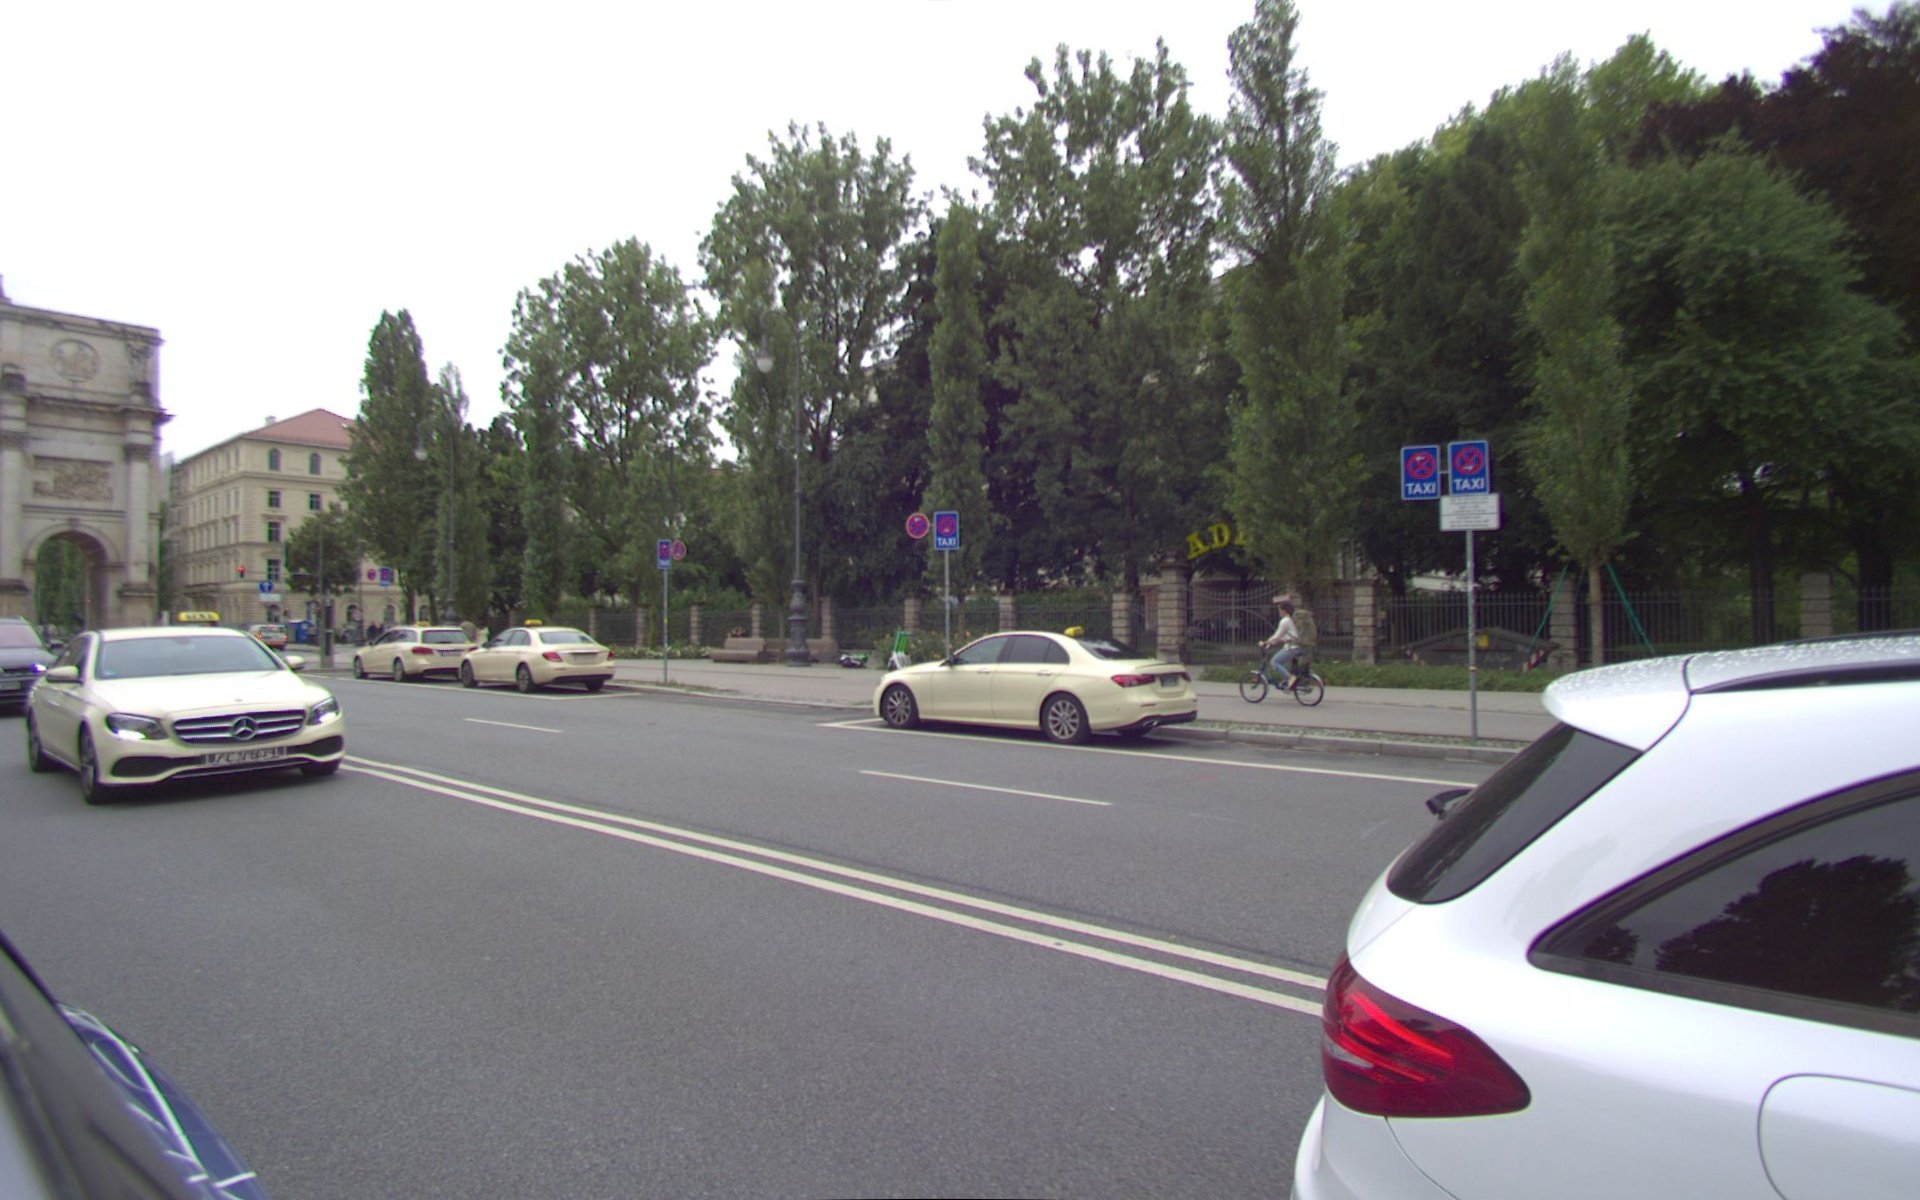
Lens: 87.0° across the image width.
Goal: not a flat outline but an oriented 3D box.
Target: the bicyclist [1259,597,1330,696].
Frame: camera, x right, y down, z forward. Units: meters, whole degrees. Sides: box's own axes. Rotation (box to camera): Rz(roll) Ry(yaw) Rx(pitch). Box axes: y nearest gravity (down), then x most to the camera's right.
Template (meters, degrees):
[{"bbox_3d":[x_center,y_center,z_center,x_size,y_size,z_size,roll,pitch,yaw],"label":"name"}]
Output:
[{"bbox_3d":[5.280,0.716,15.966,0.860,1.510,0.687,-2,-2,39],"label":"bicyclist"}]

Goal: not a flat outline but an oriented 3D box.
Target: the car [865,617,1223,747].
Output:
[{"bbox_3d":[1.014,1.047,14.106,4.788,1.508,1.910,-2,-3,42],"label":"car"}]

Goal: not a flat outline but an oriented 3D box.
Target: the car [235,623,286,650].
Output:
[{"bbox_3d":[-51.468,2.694,74.424,4.990,1.869,1.977,0,-2,43],"label":"car"}]

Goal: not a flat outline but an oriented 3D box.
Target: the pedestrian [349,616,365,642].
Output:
[{"bbox_3d":[-46.902,2.257,78.777,0.747,2.029,0.793,-1,-1,6],"label":"pedestrian"}]

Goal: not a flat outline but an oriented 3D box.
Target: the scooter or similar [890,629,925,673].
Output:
[{"bbox_3d":[-1.486,1.422,28.381,1.122,1.210,0.240,-1,-2,41],"label":"scooter or similar"}]

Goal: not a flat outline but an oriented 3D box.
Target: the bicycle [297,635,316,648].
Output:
[{"bbox_3d":[-52.612,3.320,81.455,1.757,0.981,0.636,-1,-2,35],"label":"bicycle"}]

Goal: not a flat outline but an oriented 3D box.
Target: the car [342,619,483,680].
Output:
[{"bbox_3d":[-15.241,1.328,28.058,4.855,1.571,1.799,-1,-3,41],"label":"car"}]

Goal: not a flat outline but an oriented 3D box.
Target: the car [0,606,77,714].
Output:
[{"bbox_3d":[-16.570,0.972,17.053,4.409,1.636,1.928,-1,1,41],"label":"car"}]

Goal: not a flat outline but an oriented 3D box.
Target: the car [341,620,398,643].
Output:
[{"bbox_3d":[-52.677,2.806,90.279,1.999,2.029,3.946,-2,-2,40],"label":"car"}]

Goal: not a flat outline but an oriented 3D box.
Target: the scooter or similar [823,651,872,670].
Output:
[{"bbox_3d":[-3.557,1.901,32.201,1.314,0.522,2.236,0,-2,0],"label":"scooter or similar"}]

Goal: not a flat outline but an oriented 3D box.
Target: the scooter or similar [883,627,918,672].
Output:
[{"bbox_3d":[-1.662,1.369,28.180,1.140,1.251,0.255,-1,-2,42],"label":"scooter or similar"}]

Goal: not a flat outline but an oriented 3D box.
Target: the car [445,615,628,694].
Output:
[{"bbox_3d":[-9.964,1.189,23.622,4.962,1.637,1.917,0,-2,41],"label":"car"}]

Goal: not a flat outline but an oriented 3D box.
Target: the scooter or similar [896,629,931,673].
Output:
[{"bbox_3d":[-1.314,1.421,28.577,1.122,1.210,0.240,-1,-2,41],"label":"scooter or similar"}]

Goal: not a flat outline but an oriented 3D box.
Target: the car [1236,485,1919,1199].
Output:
[{"bbox_3d":[2.714,0.589,0.633,4.581,1.465,1.806,-1,0,42],"label":"car"}]

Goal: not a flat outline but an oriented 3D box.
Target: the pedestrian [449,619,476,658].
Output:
[{"bbox_3d":[-22.193,1.705,45.148,0.834,1.691,0.968,1,-2,-43],"label":"pedestrian"}]

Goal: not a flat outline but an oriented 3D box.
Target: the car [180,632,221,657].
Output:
[{"bbox_3d":[-53.711,3.113,71.532,1.761,1.684,4.002,1,-2,-45],"label":"car"}]

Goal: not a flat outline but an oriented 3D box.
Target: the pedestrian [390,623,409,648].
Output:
[{"bbox_3d":[-40.275,2.557,72.751,0.748,1.799,0.909,-1,-2,20],"label":"pedestrian"}]

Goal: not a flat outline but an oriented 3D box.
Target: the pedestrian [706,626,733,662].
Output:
[{"bbox_3d":[-9.061,1.661,38.125,0.832,1.347,0.574,-1,-2,15],"label":"pedestrian"}]

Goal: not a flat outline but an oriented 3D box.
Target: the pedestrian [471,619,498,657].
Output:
[{"bbox_3d":[-21.396,1.697,45.540,0.834,1.691,0.968,1,-2,-43],"label":"pedestrian"}]

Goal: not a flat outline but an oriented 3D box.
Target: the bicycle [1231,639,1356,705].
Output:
[{"bbox_3d":[5.249,1.109,15.984,1.733,0.946,0.700,-1,-1,40],"label":"bicycle"}]

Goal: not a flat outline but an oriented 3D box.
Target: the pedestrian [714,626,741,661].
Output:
[{"bbox_3d":[-8.921,1.667,38.830,0.832,1.347,0.575,-1,-2,14],"label":"pedestrian"}]

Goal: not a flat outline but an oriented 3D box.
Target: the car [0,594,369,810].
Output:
[{"bbox_3d":[-7.690,0.789,9.845,4.686,1.587,1.895,-1,1,40],"label":"car"}]
